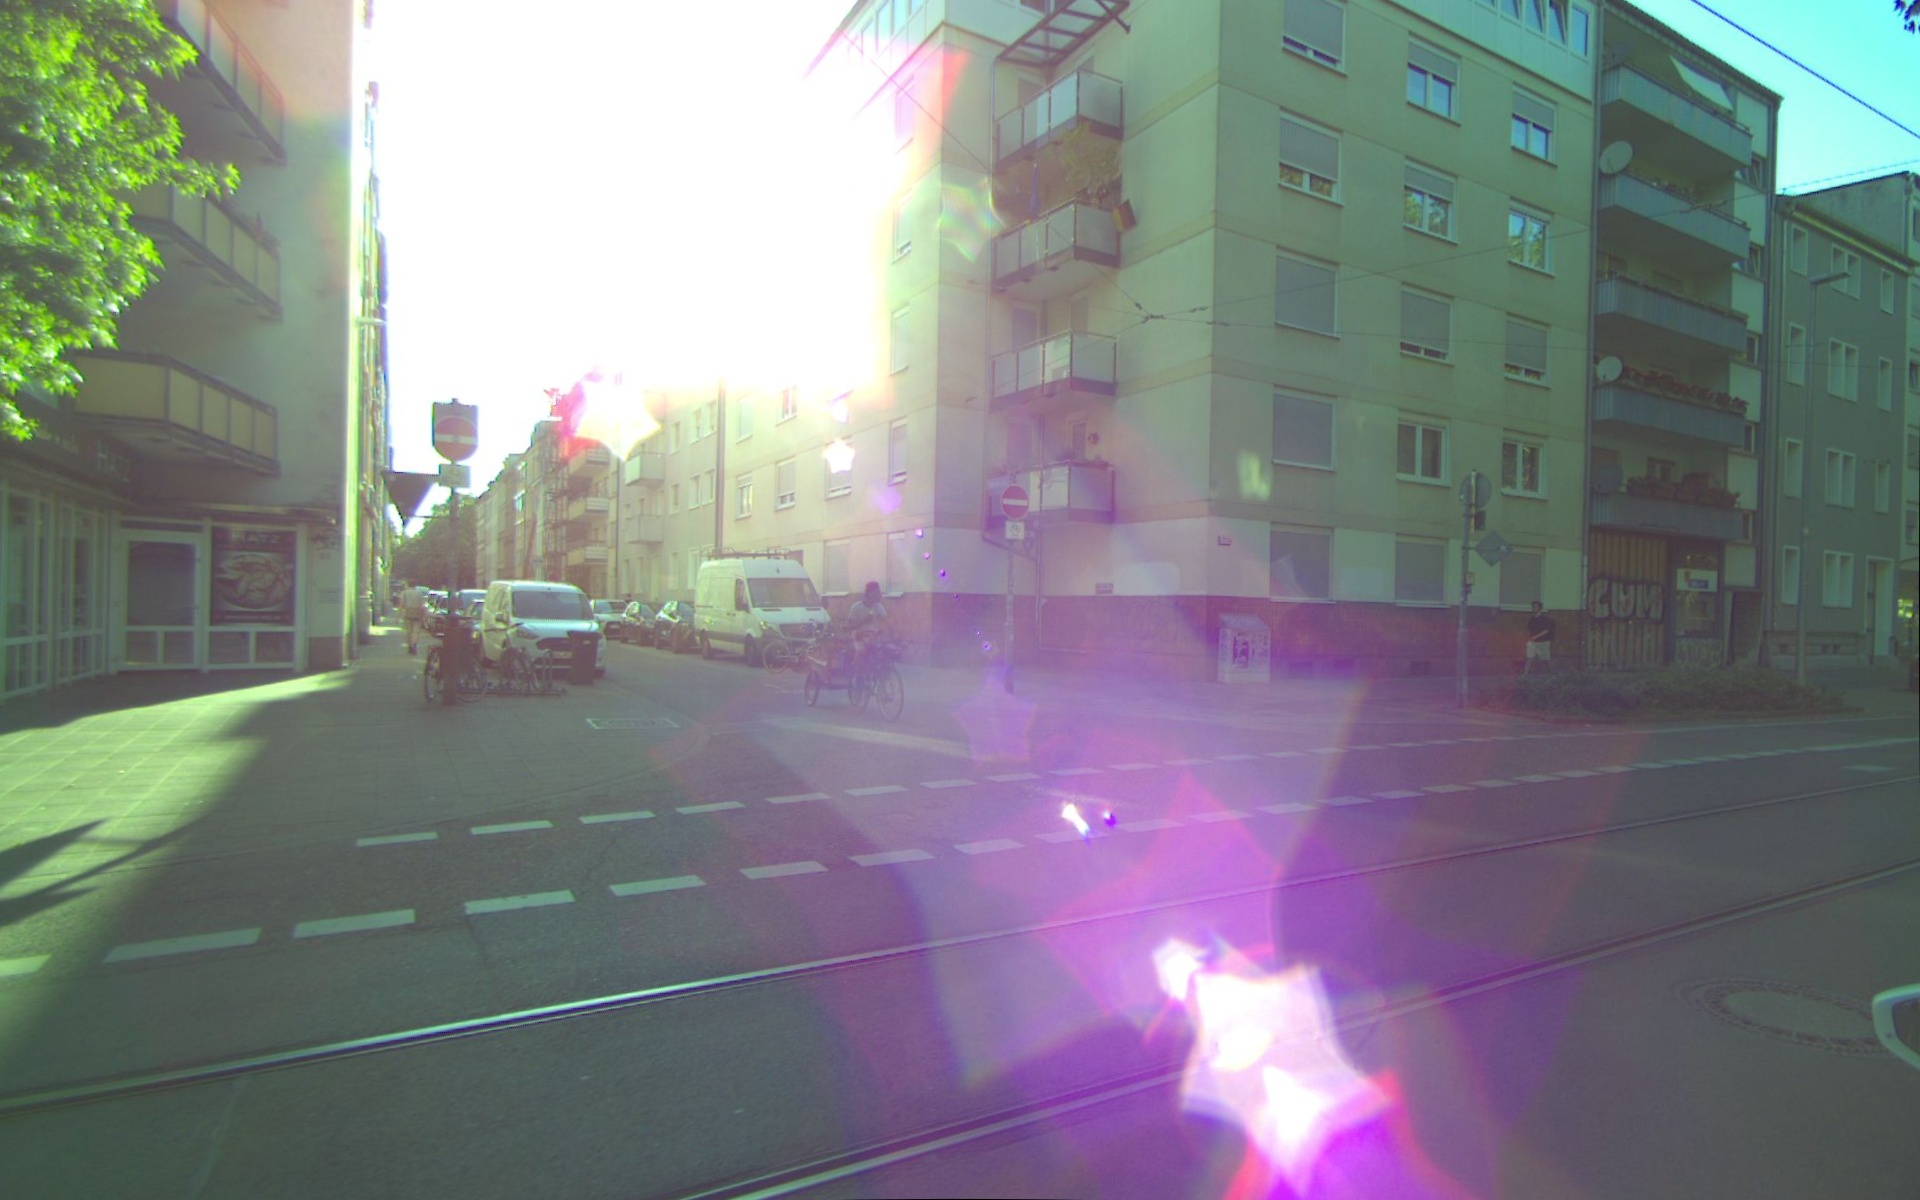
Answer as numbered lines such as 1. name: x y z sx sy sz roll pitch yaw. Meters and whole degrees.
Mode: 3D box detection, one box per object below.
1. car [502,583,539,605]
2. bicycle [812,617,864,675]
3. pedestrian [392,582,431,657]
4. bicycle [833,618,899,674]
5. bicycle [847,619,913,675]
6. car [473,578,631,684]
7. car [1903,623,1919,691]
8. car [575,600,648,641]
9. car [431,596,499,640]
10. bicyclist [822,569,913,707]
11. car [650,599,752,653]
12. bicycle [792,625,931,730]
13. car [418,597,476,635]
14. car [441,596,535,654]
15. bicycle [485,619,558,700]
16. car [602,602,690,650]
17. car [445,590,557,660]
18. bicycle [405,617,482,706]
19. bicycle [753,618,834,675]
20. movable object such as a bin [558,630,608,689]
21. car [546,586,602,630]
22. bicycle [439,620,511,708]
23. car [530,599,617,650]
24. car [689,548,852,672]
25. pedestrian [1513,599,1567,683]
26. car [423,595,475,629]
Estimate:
1. car: -32.062 -0.448 73.229 2.006 1.519 3.926 1 -1 -31
2. bicycle: -2.617 0.974 21.373 0.576 1.172 1.744 1 -2 -25
3. pedestrian: -13.540 0.477 24.780 0.758 1.824 0.827 1 0 -34
4. bicycle: -2.051 0.982 21.655 0.579 1.172 1.736 2 -3 -38
5. bicycle: -1.755 1.012 21.850 0.579 1.172 1.736 2 -3 -38
6. car: -8.293 0.560 20.132 2.017 1.846 4.845 1 -1 -33
7. car: 25.988 1.491 25.667 4.194 1.673 1.693 1 2 -32
8. car: -13.843 0.788 39.763 2.006 1.519 3.926 1 -1 -31
9. car: -18.351 0.652 37.156 2.006 1.519 3.927 1 -1 -30
10. bicyclist: -1.214 0.479 13.128 0.896 1.727 0.868 1 0 -27
11. car: -7.957 0.760 30.601 2.006 1.519 3.926 1 -1 -31
12. bicycle: -1.389 0.966 13.458 0.909 1.172 2.785 1 0 -26
13. car: -21.936 0.656 42.875 2.006 1.519 3.927 1 -1 -30
14. car: -13.332 0.670 28.267 2.006 1.519 3.926 1 -1 -31
15. bicycle: -6.747 0.896 15.535 0.562 1.172 1.948 1 -2 -10
16. car: -10.732 0.840 34.216 2.006 1.519 3.926 1 -1 -31
17. car: -11.047 0.557 24.017 2.006 1.519 3.925 1 -1 -31
18. bicycle: -7.306 0.852 14.284 0.563 1.172 1.945 1 -2 -16
19. bicycle: -3.513 0.977 21.231 1.571 1.172 0.585 0 -2 16
20. movable object such as a bin: -6.522 1.020 17.375 0.636 0.986 0.588 1 0 -41
21. car: -19.766 0.397 51.318 2.006 2.163 3.926 1 -1 -31
22. bicycle: -6.917 0.898 14.403 0.563 1.172 1.945 1 -2 -16
23. car: -12.606 0.765 32.654 2.006 1.519 3.926 1 -1 -31
24. car: -4.949 0.240 25.411 2.146 2.760 5.778 1 -1 -31
25. pedestrian: 13.172 0.918 22.804 0.954 1.850 0.660 1 0 -32
26. car: -24.401 0.571 47.891 2.006 1.519 3.927 1 -1 -30
